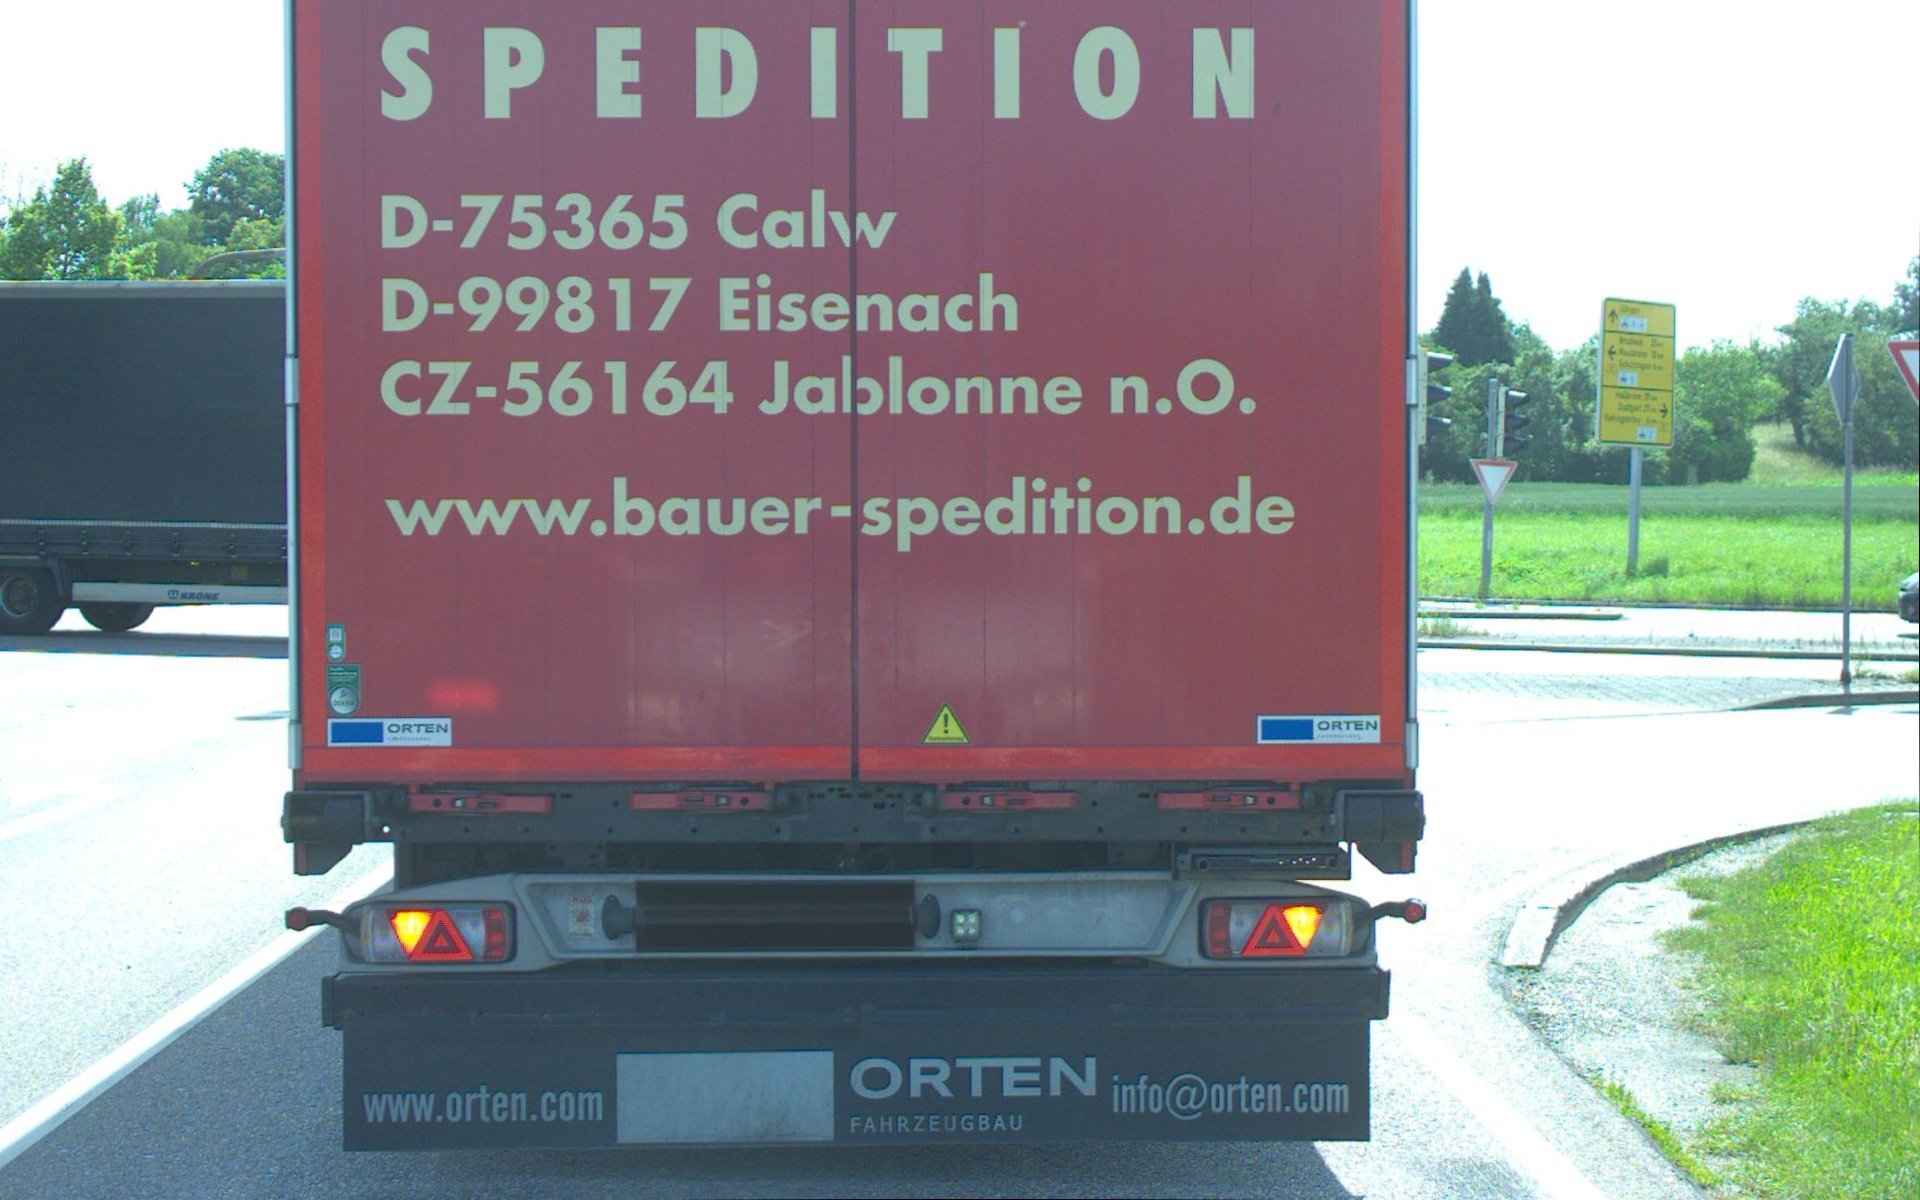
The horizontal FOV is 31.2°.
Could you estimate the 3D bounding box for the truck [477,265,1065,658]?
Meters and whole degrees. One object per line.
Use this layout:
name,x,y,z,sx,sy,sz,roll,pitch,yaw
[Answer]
truck,-2.006,-1.535,37.486,5.829,4.047,2.797,1,2,13

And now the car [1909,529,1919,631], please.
car,14.310,-0.225,44.280,3.990,1.306,1.765,1,0,15

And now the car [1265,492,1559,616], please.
car,6.072,-0.618,46.523,3.827,1.628,1.761,0,0,4

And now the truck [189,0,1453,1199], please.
truck,-0.427,-0.841,15.795,2.734,3.911,16.627,1,1,-1

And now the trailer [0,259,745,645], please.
trailer,-9.399,-1.757,39.445,13.695,4.047,2.796,1,2,17
